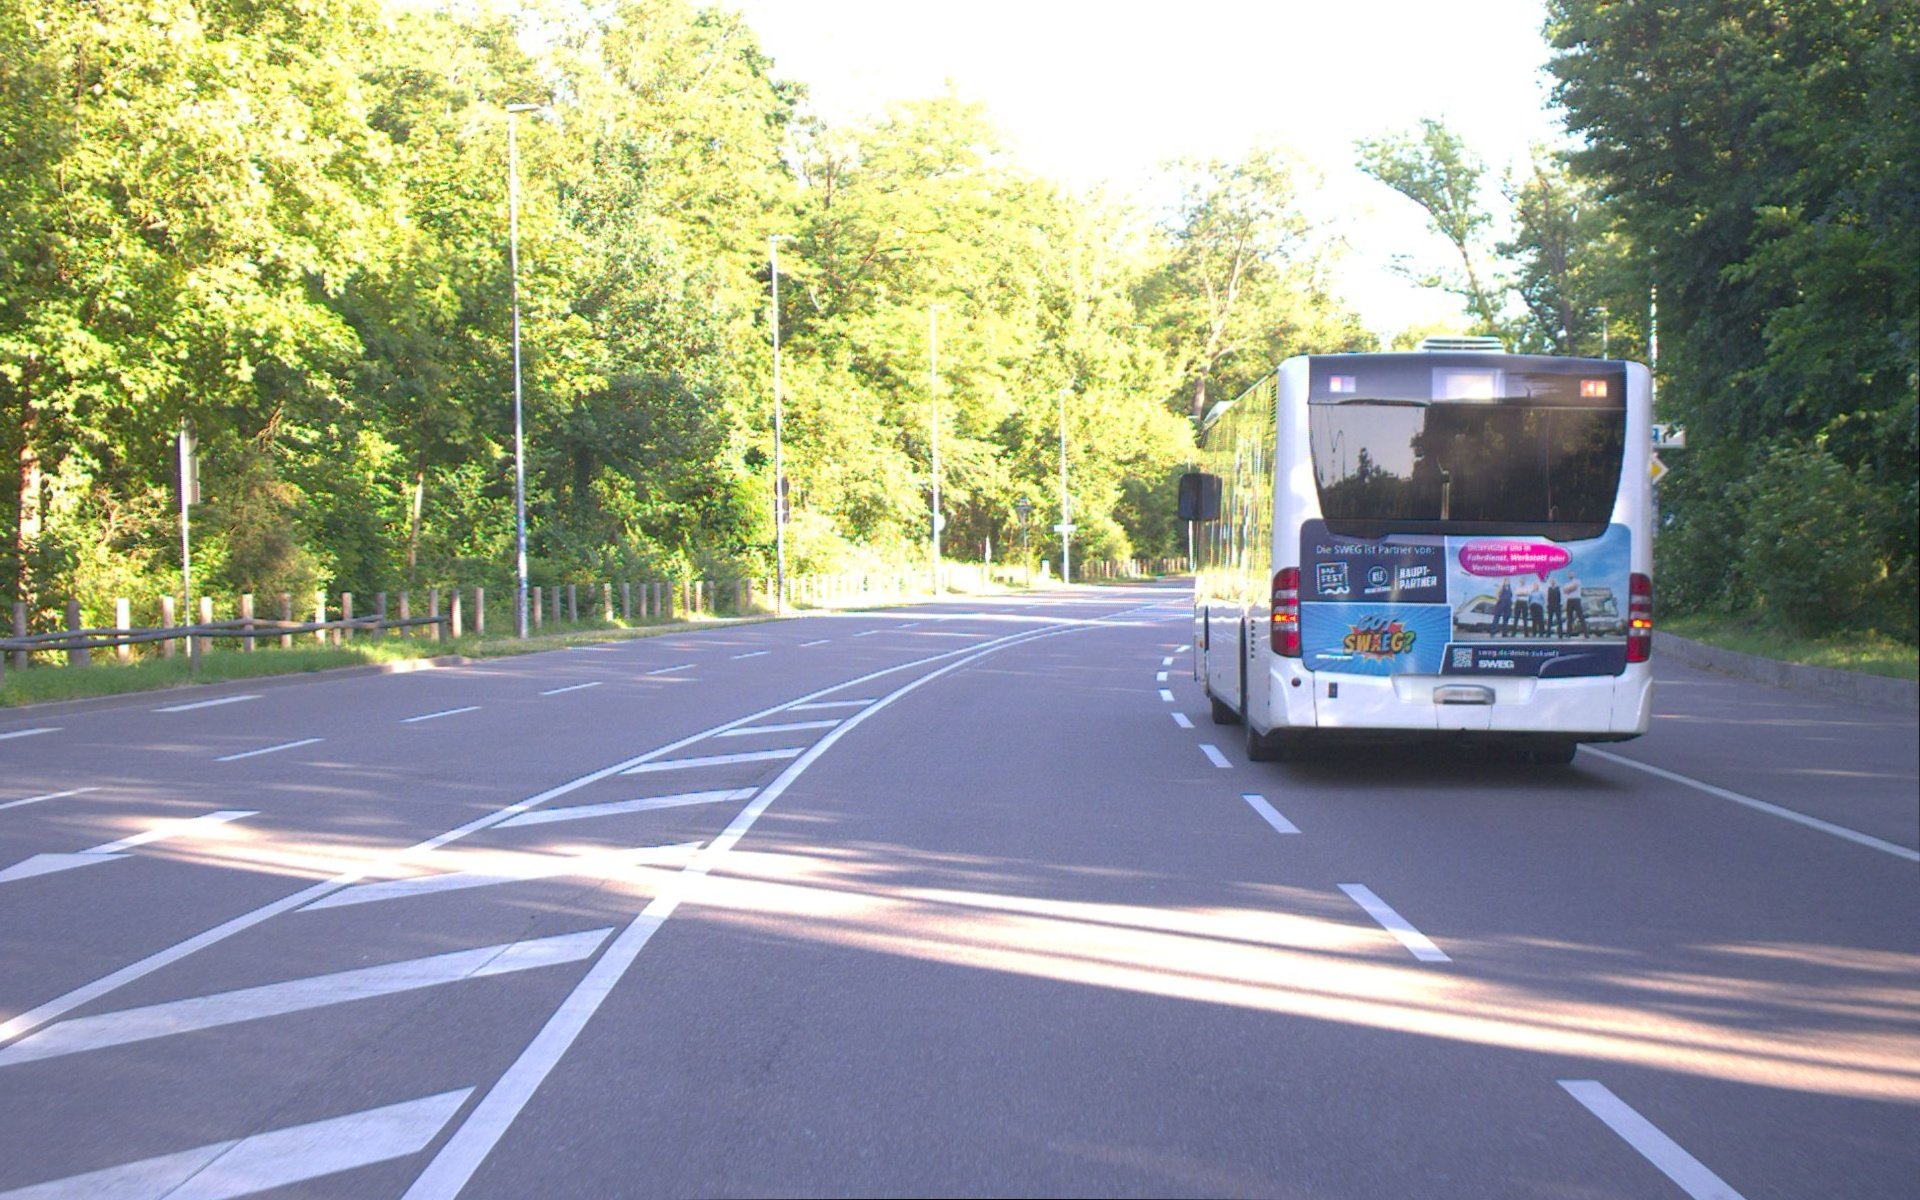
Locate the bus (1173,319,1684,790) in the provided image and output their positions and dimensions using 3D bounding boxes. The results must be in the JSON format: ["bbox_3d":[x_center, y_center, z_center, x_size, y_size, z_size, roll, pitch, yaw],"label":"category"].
[{"bbox_3d":[3.415,-0.377,28.344,2.689,3.032,12.041,1,1,1],"label":"bus"}]
